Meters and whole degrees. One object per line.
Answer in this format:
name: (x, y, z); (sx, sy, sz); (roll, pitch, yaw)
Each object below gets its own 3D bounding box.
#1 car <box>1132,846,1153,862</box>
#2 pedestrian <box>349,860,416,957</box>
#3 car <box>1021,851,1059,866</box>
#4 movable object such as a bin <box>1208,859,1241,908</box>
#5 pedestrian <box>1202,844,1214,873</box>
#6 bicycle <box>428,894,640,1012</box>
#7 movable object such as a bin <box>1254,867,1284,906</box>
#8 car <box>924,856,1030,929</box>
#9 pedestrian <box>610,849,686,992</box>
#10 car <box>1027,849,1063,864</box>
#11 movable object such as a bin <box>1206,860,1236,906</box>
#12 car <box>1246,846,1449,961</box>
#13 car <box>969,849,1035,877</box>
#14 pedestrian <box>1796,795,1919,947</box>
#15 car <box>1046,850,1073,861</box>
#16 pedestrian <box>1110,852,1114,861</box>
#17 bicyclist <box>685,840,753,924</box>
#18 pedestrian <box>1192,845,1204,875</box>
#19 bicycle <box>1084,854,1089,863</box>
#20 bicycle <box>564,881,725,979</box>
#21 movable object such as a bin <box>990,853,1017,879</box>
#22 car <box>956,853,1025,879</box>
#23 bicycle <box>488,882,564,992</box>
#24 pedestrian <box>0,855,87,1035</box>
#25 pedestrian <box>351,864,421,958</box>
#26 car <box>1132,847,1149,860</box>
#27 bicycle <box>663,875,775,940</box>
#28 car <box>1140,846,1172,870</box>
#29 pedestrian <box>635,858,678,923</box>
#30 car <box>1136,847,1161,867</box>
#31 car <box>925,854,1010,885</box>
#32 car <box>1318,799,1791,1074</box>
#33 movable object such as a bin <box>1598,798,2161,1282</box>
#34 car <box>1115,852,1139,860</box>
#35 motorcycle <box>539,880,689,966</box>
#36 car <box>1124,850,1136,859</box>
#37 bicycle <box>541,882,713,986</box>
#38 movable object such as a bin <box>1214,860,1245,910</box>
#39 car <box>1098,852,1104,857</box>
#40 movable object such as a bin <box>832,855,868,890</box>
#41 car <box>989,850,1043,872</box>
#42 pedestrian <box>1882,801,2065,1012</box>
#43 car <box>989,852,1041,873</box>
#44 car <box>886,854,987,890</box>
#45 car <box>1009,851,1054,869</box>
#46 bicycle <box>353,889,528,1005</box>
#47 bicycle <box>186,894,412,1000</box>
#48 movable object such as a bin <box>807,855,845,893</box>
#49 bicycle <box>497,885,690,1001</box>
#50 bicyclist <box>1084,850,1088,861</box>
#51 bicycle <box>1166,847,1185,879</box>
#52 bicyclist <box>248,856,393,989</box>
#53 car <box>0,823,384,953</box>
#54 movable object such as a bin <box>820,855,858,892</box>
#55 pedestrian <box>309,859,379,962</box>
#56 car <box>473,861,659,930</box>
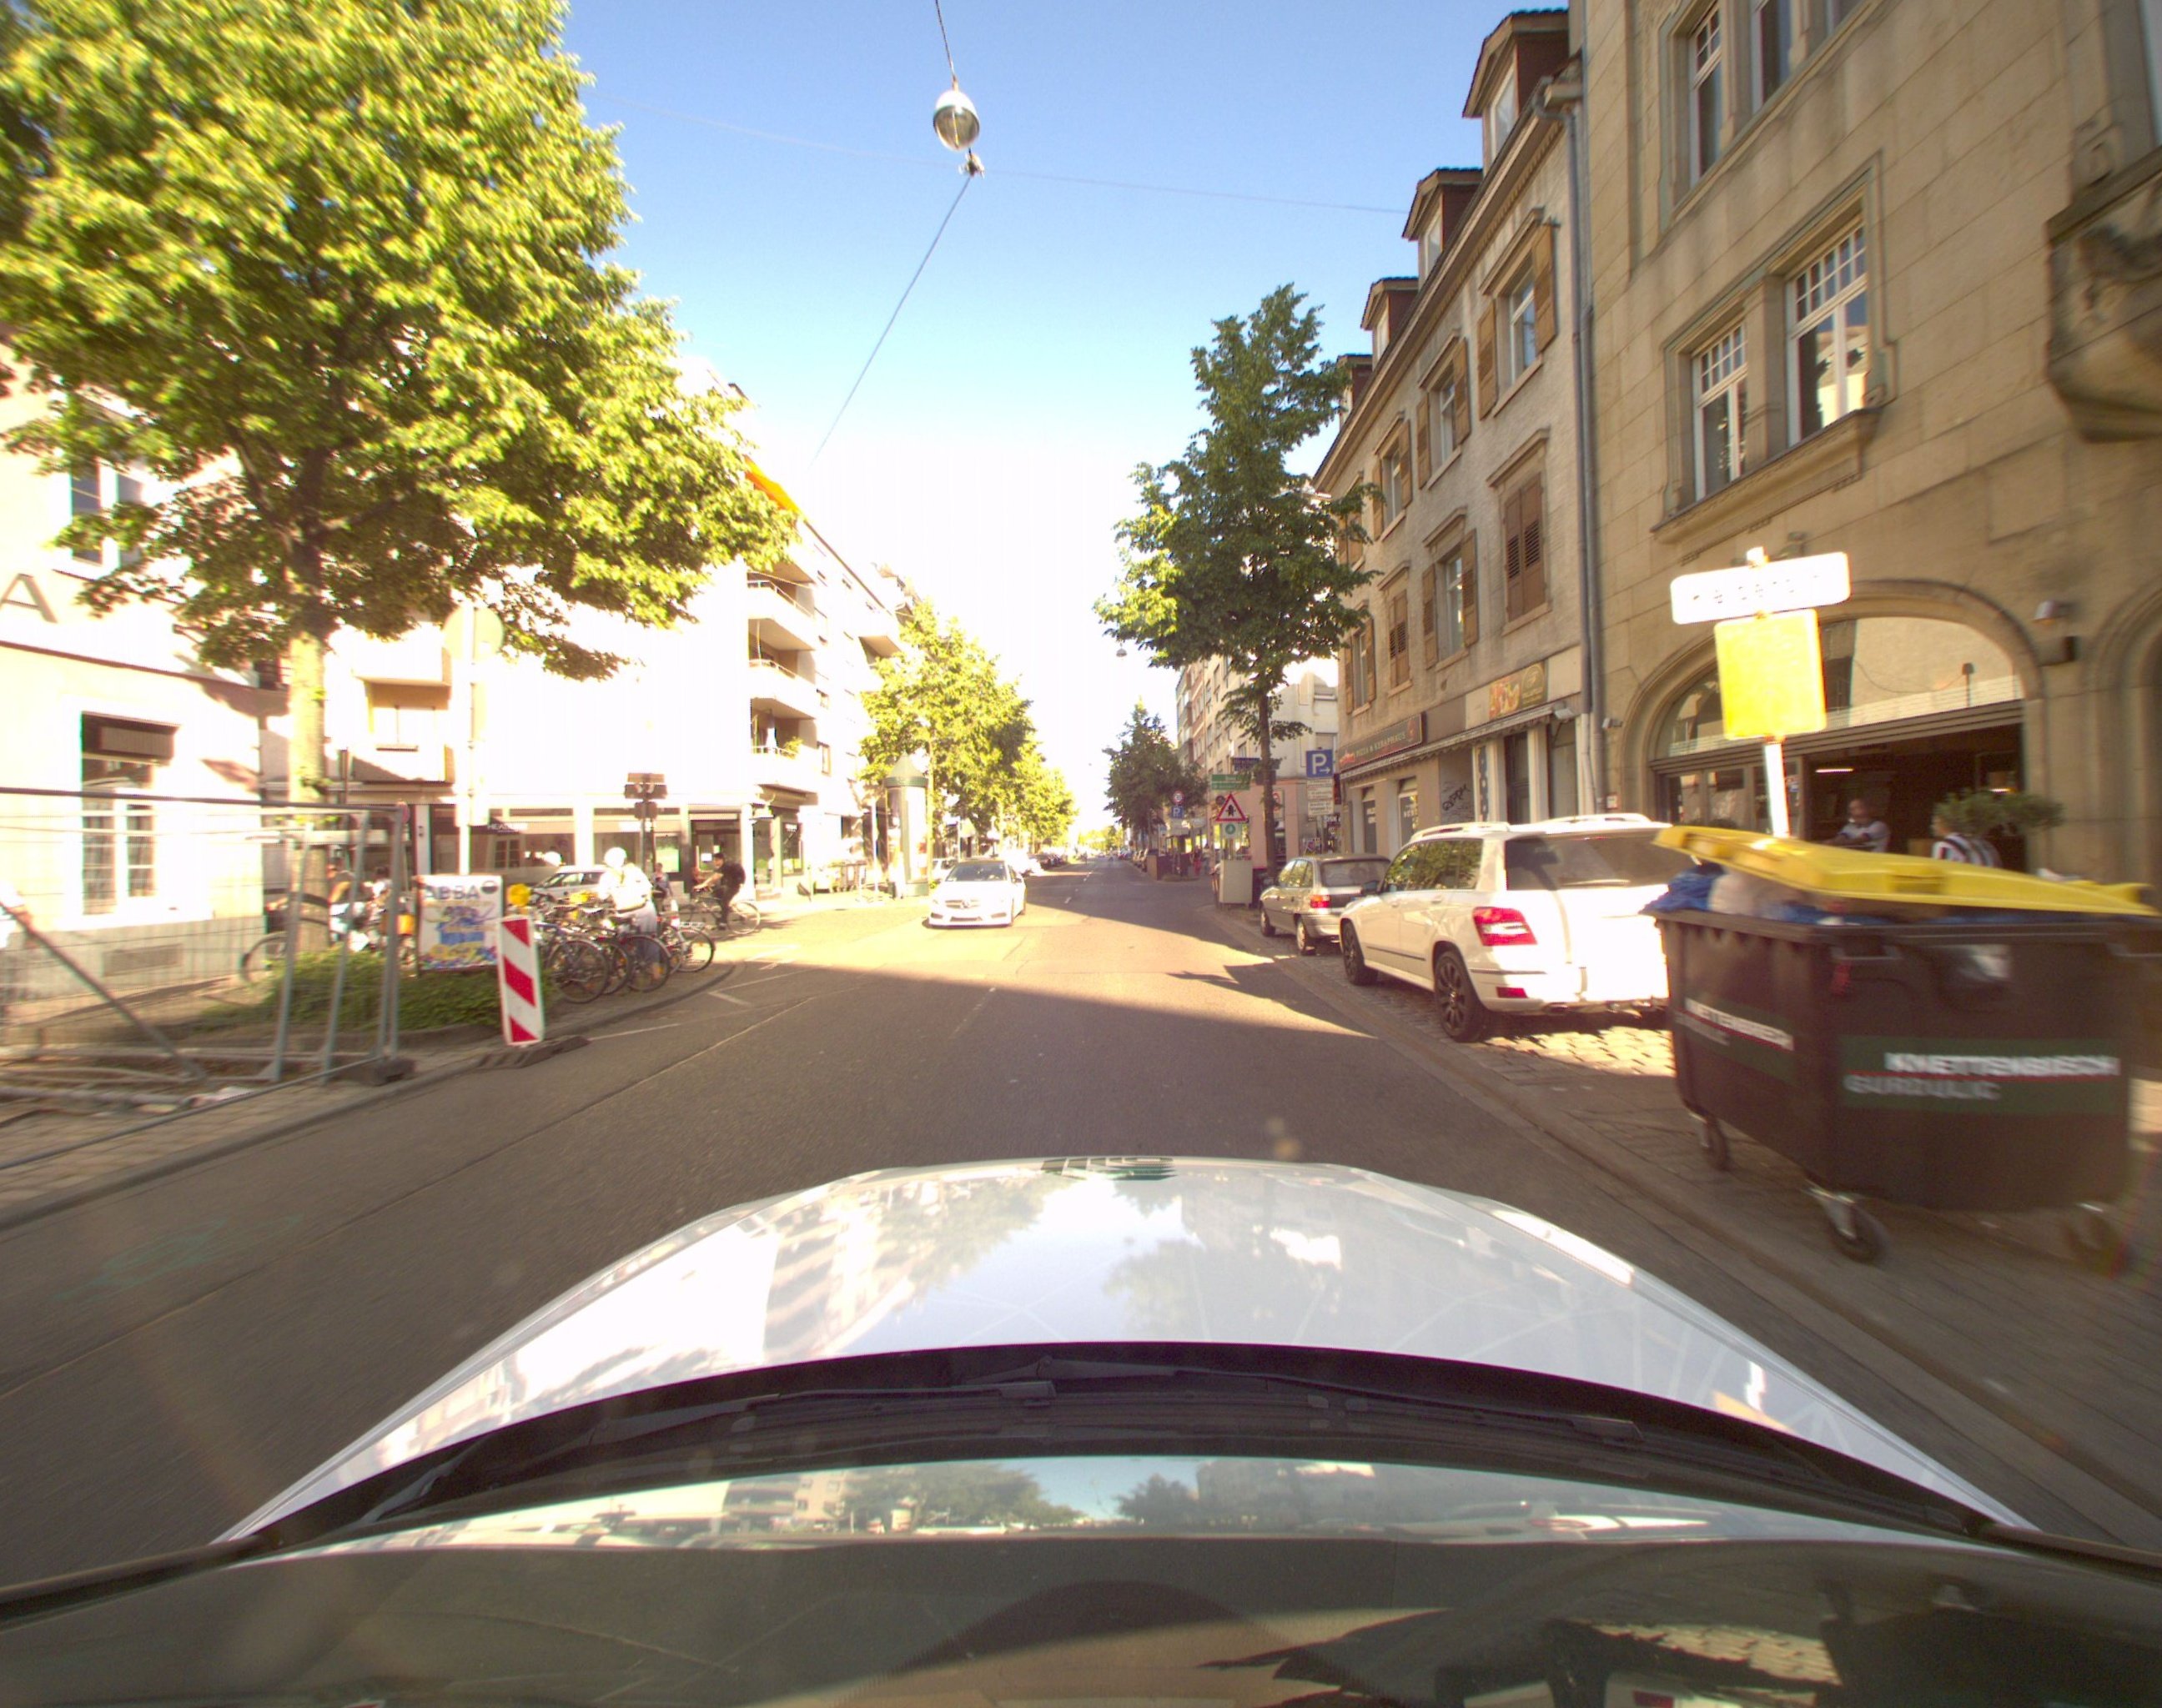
car: (6.430, -0.004, 85.158); (1.986, 1.609, 4.002); (-2, 0, 2)
pedestrian: (-13.273, 1.019, 15.497); (0.653, 1.760, 0.656); (-2, 0, -6)
car: (-4.392, 0.481, 88.060); (3.973, 1.500, 2.000); (-2, 0, 0)
movable object such as a bin: (3.733, 0.756, 21.287); (0.703, 1.222, 0.680); (-2, 0, -1)
pedestrian: (7.164, 0.255, 46.128); (0.545, 1.649, 0.665); (-2, 0, 2)
bicycle: (-5.976, 1.065, 8.976); (1.852, 1.170, 0.599); (-1, 0, -6)
movable object such as a bin: (4.533, 0.771, 19.671); (0.561, 0.895, 0.628); (-2, 0, -1)
car: (-2.299, 0.805, 19.120); (1.796, 1.435, 4.410); (-1, 0, 1)
pedestrian: (-5.490, 0.801, 10.315); (0.797, 1.707, 0.759); (-1, 0, -31)
car: (-4.111, 0.290, 94.302); (3.973, 1.500, 2.000); (-2, 0, 0)
movable object such as a bin: (3.778, 0.777, 22.029); (0.657, 1.179, 0.739); (-2, 0, -1)
car: (3.972, 0.644, 12.957); (1.816, 1.391, 4.302); (-4, 0, 1)
car: (-5.258, 0.610, 54.517); (3.966, 1.694, 2.004); (-2, 0, 6)
pedestrian: (8.424, 0.173, 8.862); (0.694, 1.566, 0.613); (-3, 0, 1)
car: (-3.186, 0.190, 122.249); (3.973, 1.500, 2.000); (-2, 0, 0)
pedestrian: (5.162, 0.343, 134.257); (0.544, 1.472, 0.546); (-2, 0, 0)
bicyclist: (-7.679, 0.563, 17.276); (1.162, 1.693, 0.713); (-2, 0, -35)
pedestrian: (6.541, 0.306, 45.691); (0.545, 1.649, 0.665); (-2, 0, 2)
bicycle: (0.742, 0.659, 112.442); (0.558, 1.180, 1.629); (-1, -1, 2)
bicycle: (-6.026, 1.036, 11.307); (1.852, 1.252, 0.599); (-1, 0, -6)
movable object such as a bin: (-4.589, 0.702, 48.261); (1.330, 1.478, 1.481); (-2, 0, 1)
car: (-5.706, 0.757, 51.726); (3.966, 1.457, 1.872); (-2, 0, 6)
bicycle: (-7.251, 1.024, 10.604); (0.603, 1.252, 1.772); (-1, 0, -41)
pedestrian: (-10.236, 0.850, 7.703); (0.607, 1.653, 0.814); (-2, 0, 5)
pedestrian: (-12.765, 1.030, 14.969); (0.650, 1.667, 0.658); (-2, 0, 12)
car: (7.644, -0.118, 105.486); (1.986, 1.609, 4.002); (-2, 0, 2)
bicycle: (-7.667, 1.097, 17.274); (2.044, 1.220, 0.713); (-2, 0, -35)
car: (5.421, 0.290, 59.150); (1.986, 1.609, 4.002); (-2, 0, 2)
pedestrian: (-11.119, 0.946, 21.351); (0.763, 1.643, 0.694); (-2, 0, 38)
car: (5.966, 0.260, 72.522); (1.986, 1.609, 4.002); (-2, 0, 2)
car: (-5.753, 0.784, 41.607); (3.973, 1.390, 2.000); (-2, 0, 0)
car: (3.765, 0.532, 7.638); (1.815, 1.679, 4.603); (-4, 0, 2)
movable object such as a bin: (3.153, 0.614, 3.428); (1.135, 1.562, 1.463); (-2, 0, 10)
car: (8.463, 0.376, 149.913); (4.015, 1.442, 1.979); (-1, -1, -33)
motorcycle: (-7.250, 1.054, 12.733); (1.852, 1.229, 0.754); (-1, 0, -10)
car: (8.394, 0.133, 140.514); (1.986, 1.508, 4.001); (-1, 0, 1)
bicycle: (-5.898, 1.024, 10.663); (1.852, 1.252, 0.599); (-1, 0, -6)
movable object such as a bin: (3.727, 0.769, 20.449); (0.619, 1.179, 0.711); (-2, 0, -1)
car: (5.577, 0.153, 228.057); (1.786, 1.411, 4.002); (-2, 0, 2)
movable object such as a bin: (-10.366, 0.802, 36.581); (1.168, 1.485, 1.315); (-2, 0, 0)
car: (-4.996, 0.521, 63.334); (3.973, 1.500, 2.000); (-2, 0, 0)
pedestrian: (6.962, 0.386, 6.389); (0.608, 1.540, 0.699); (-3, 0, 1)
car: (-5.303, 0.677, 65.847); (3.973, 1.500, 2.000); (-2, -1, 0)
car: (-6.289, 0.756, 35.828); (3.973, 1.390, 2.000); (-2, 0, 0)
car: (-4.674, 0.568, 77.288); (3.973, 1.500, 2.000); (-2, 0, 0)
bicycle: (-7.467, 1.052, 9.508); (1.775, 1.252, 0.602); (-1, 0, 13)
bicycle: (-9.531, 1.086, 10.061); (0.763, 1.059, 1.958); (-2, 0, 5)
movable object such as a bin: (-10.482, 0.802, 33.495); (1.136, 1.485, 1.235); (-2, 0, 0)
bicycle: (-5.723, 1.025, 9.644); (1.852, 1.252, 0.599); (-1, 0, -6)
bicyclist: (0.725, 0.197, 112.461); (0.558, 1.548, 0.728); (-1, -1, 2)
bicycle: (4.571, 0.434, 39.490); (0.558, 1.441, 1.629); (-8, 0, 2)
bicyclist: (-9.522, 0.819, 10.239); (0.763, 1.560, 1.042); (-2, 0, 5)
car: (-21.950, 0.719, 20.128); (6.507, 2.718, 2.886); (-2, 0, -24)
movable object such as a bin: (-10.359, 0.813, 34.950); (1.168, 1.485, 1.315); (-2, 0, 0)
pedestrian: (-13.135, 0.988, 14.529); (0.655, 1.760, 0.653); (-2, 0, -17)
car: (-14.336, 1.100, 22.966); (4.000, 1.610, 1.987); (-3, 0, -20)
